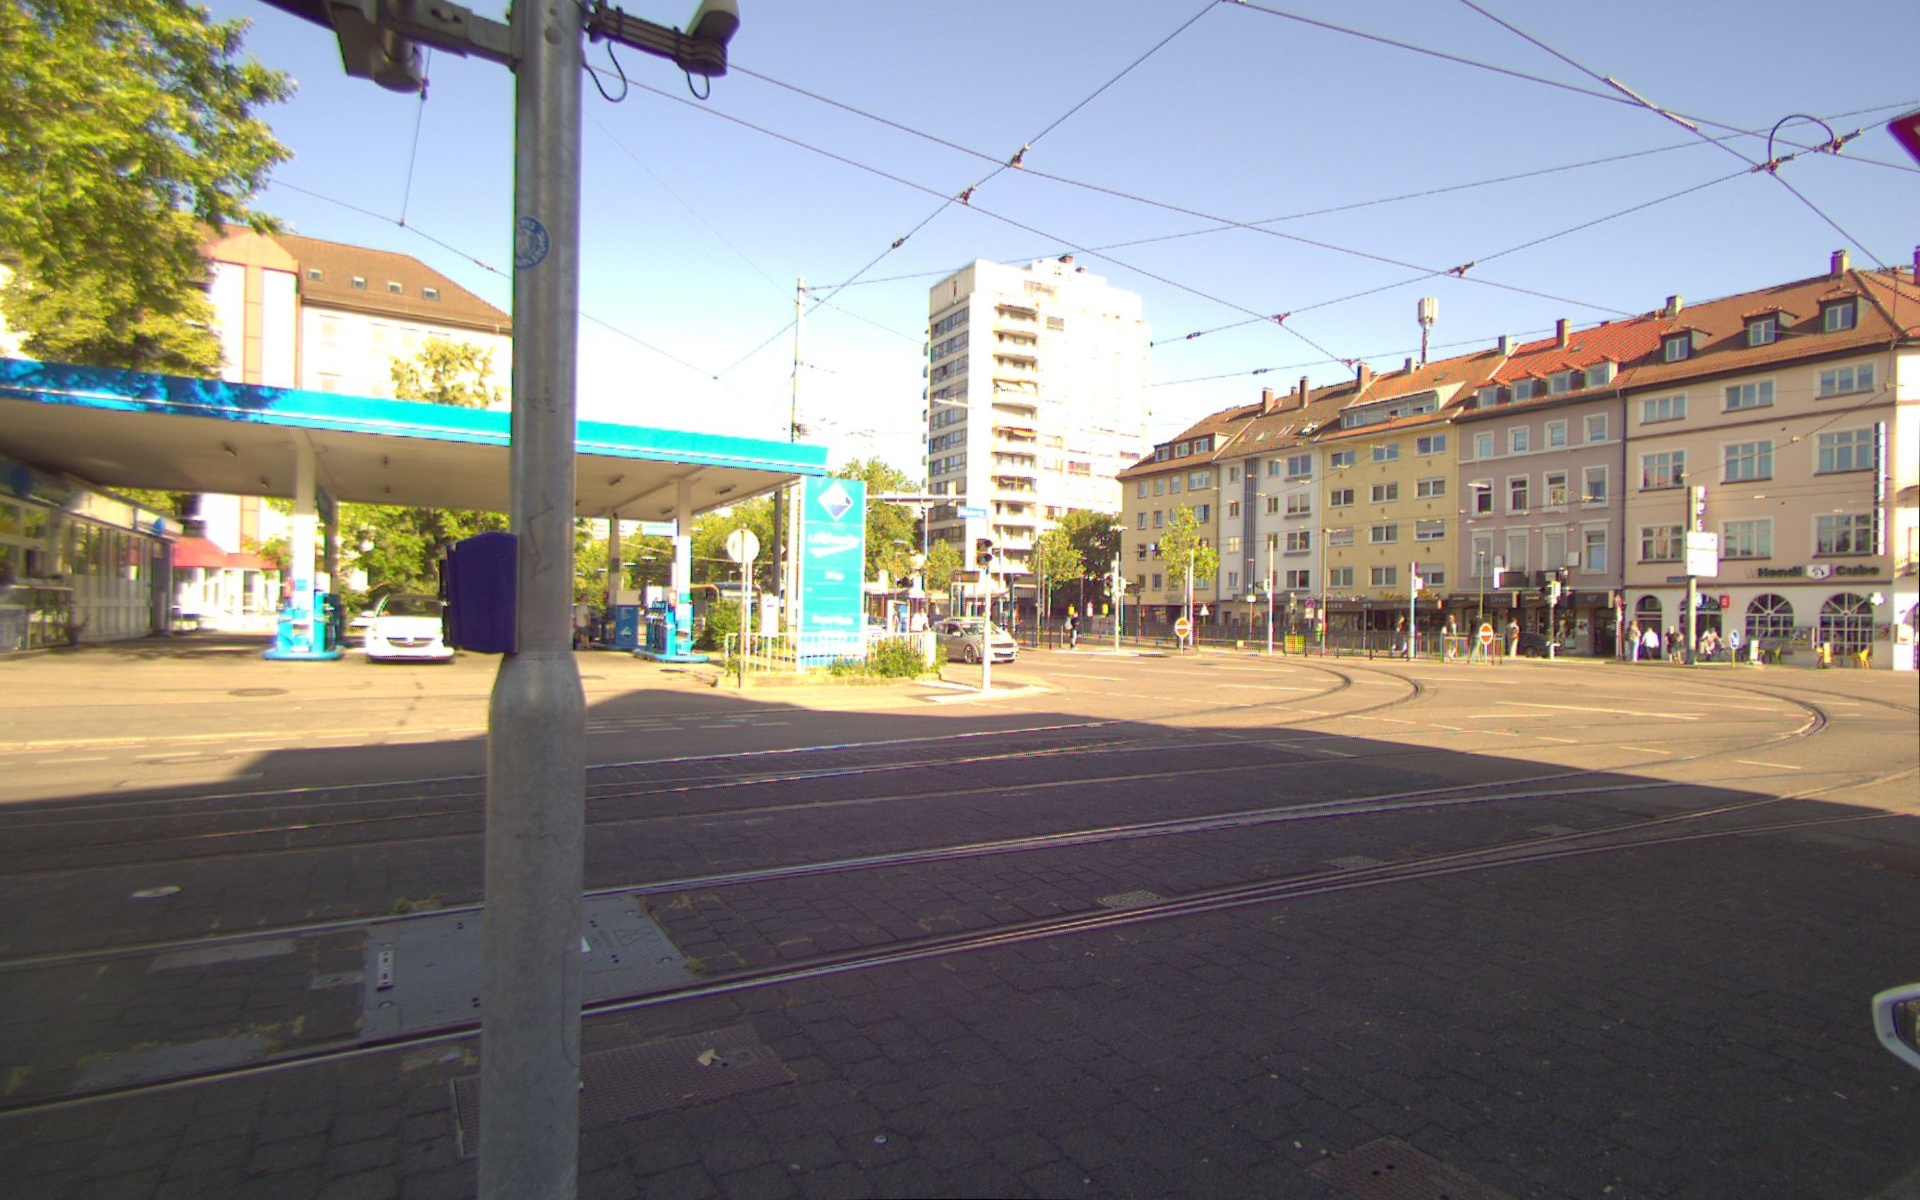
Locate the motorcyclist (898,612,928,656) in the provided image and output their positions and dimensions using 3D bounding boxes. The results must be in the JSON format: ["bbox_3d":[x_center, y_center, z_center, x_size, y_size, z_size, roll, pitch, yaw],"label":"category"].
[{"bbox_3d":[-1.819,1.315,39.092,0.810,1.642,0.824,2,0,-41],"label":"motorcyclist"}]

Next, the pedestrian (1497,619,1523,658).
[{"bbox_3d":[24.174,1.681,44.154,0.621,1.704,0.763,1,-1,-30],"label":"pedestrian"}]

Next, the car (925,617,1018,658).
[{"bbox_3d":[0.412,1.448,39.936,1.724,1.518,3.929,1,-1,-35],"label":"car"}]

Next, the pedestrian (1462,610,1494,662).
[{"bbox_3d":[18.750,1.281,36.392,0.714,1.853,0.763,1,-1,-30],"label":"pedestrian"}]

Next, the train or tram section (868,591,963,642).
[{"bbox_3d":[-3.983,1.283,85.345,2.926,3.986,11.589,2,0,-30],"label":"train or tram section"}]

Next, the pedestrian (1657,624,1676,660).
[{"bbox_3d":[33.895,2.026,48.179,0.731,1.704,0.626,0,-1,35],"label":"pedestrian"}]

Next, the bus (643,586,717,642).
[{"bbox_3d":[-18.967,0.811,67.634,2.755,3.504,8.571,0,1,-30],"label":"bus"}]

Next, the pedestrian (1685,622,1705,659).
[{"bbox_3d":[34.374,1.900,46.961,0.731,1.704,0.626,0,-1,35],"label":"pedestrian"}]

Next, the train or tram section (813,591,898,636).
[{"bbox_3d":[-10.159,1.175,95.908,2.926,3.986,12.850,2,0,-30],"label":"train or tram section"}]

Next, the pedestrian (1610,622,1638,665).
[{"bbox_3d":[26.450,1.735,40.026,0.621,1.704,0.737,1,-1,-30],"label":"pedestrian"}]

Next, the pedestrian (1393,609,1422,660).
[{"bbox_3d":[16.692,1.291,37.470,0.769,1.874,0.625,1,-1,-30],"label":"pedestrian"}]

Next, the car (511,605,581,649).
[{"bbox_3d":[-13.587,0.853,32.886,1.697,1.360,3.970,1,-1,-28],"label":"car"}]

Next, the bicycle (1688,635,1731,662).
[{"bbox_3d":[37.818,2.449,50.676,1.693,1.293,0.385,0,-1,44],"label":"bicycle"}]

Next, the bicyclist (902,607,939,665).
[{"bbox_3d":[-1.199,1.090,30.497,0.727,1.735,0.932,1,-1,-37],"label":"bicyclist"}]

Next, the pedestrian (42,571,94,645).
[{"bbox_3d":[-20.857,0.195,23.505,0.751,1.715,0.583,1,-1,-28],"label":"pedestrian"}]

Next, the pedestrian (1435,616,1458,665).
[{"bbox_3d":[18.480,1.534,38.166,0.553,1.810,0.557,1,-1,-30],"label":"pedestrian"}]

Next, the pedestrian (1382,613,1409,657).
[{"bbox_3d":[16.672,1.343,38.431,0.565,1.657,0.737,1,-1,-30],"label":"pedestrian"}]

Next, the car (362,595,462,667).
[{"bbox_3d":[-12.368,0.667,22.565,1.793,1.461,3.966,1,-1,-31],"label":"car"}]

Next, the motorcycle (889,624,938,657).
[{"bbox_3d":[-1.825,1.556,39.088,0.689,1.244,2.186,1,-1,-40],"label":"motorcycle"}]

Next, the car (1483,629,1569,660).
[{"bbox_3d":[30.882,2.406,54.855,1.795,1.511,3.715,2,0,-27],"label":"car"}]

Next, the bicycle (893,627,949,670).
[{"bbox_3d":[-1.202,1.444,30.514,0.736,1.239,1.909,1,-1,-37],"label":"bicycle"}]

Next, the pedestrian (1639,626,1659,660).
[{"bbox_3d":[35.903,2.229,52.322,0.623,1.704,0.734,1,-1,-41],"label":"pedestrian"}]

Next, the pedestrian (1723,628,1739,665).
[{"bbox_3d":[26.959,1.632,35.136,0.447,1.270,0.361,1,-1,-41],"label":"pedestrian"}]

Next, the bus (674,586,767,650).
[{"bbox_3d":[-14.439,0.925,59.888,2.748,3.504,9.364,0,1,-31],"label":"bus"}]

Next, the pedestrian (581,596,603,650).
[{"bbox_3d":[-11.811,0.727,32.214,0.579,1.715,0.756,1,-1,-25],"label":"pedestrian"}]

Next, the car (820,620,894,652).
[{"bbox_3d":[-5.135,1.733,49.603,1.723,1.492,4.644,1,-1,-33],"label":"car"}]

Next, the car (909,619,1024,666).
[{"bbox_3d":[0.167,1.411,33.982,1.725,1.459,4.239,2,-2,-36],"label":"car"}]

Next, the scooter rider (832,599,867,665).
[{"bbox_3d":[-3.319,0.958,30.251,0.788,1.937,0.791,1,0,-30],"label":"scooter rider"}]

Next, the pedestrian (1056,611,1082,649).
[{"bbox_3d":[4.716,1.315,43.597,0.788,1.632,0.766,1,-1,-36],"label":"pedestrian"}]
